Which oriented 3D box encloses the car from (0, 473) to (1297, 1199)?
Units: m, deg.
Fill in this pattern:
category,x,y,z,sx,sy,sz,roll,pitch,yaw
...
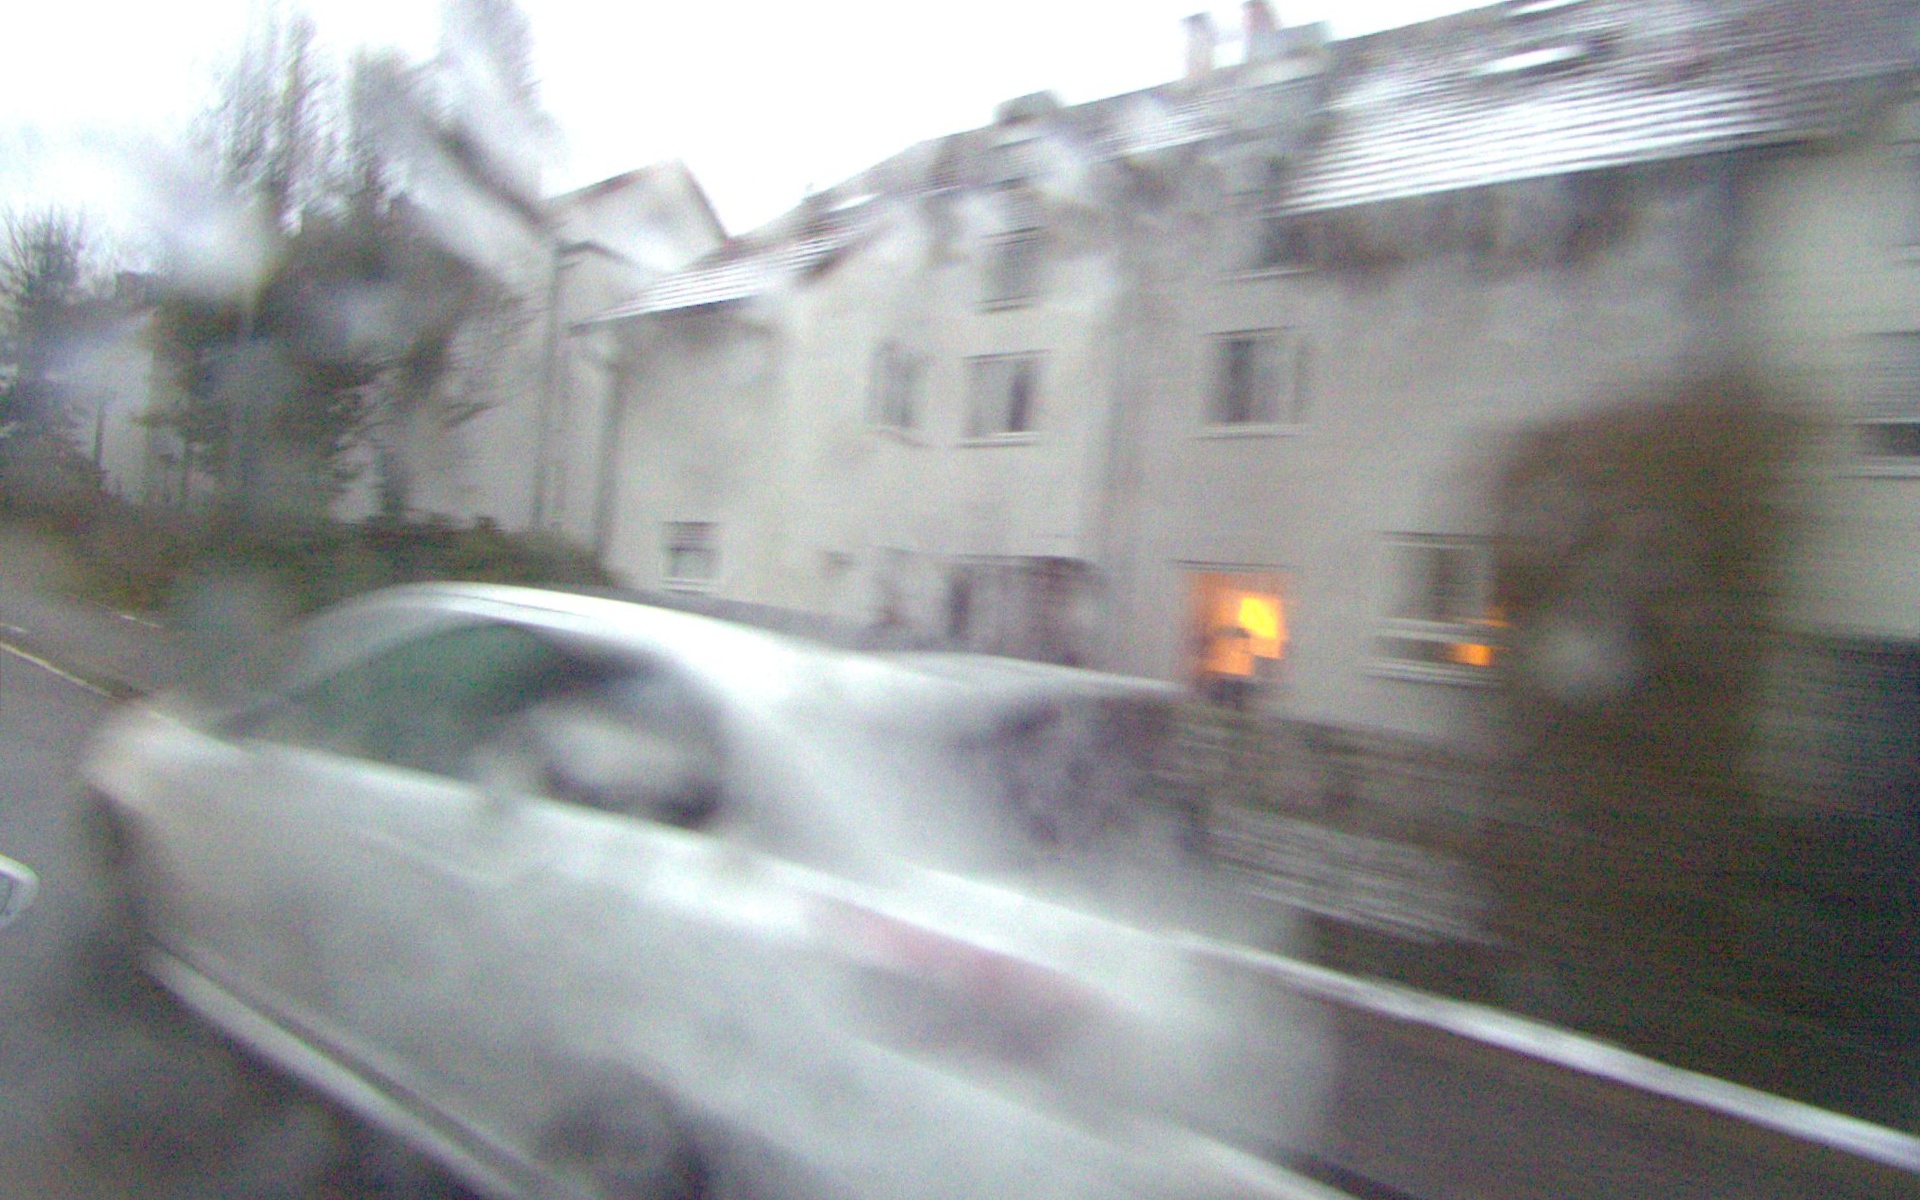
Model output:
category,x,y,z,sx,sy,sz,roll,pitch,yaw
car,-1.231,0.585,3.176,3.957,1.523,1.707,6,-2,31
